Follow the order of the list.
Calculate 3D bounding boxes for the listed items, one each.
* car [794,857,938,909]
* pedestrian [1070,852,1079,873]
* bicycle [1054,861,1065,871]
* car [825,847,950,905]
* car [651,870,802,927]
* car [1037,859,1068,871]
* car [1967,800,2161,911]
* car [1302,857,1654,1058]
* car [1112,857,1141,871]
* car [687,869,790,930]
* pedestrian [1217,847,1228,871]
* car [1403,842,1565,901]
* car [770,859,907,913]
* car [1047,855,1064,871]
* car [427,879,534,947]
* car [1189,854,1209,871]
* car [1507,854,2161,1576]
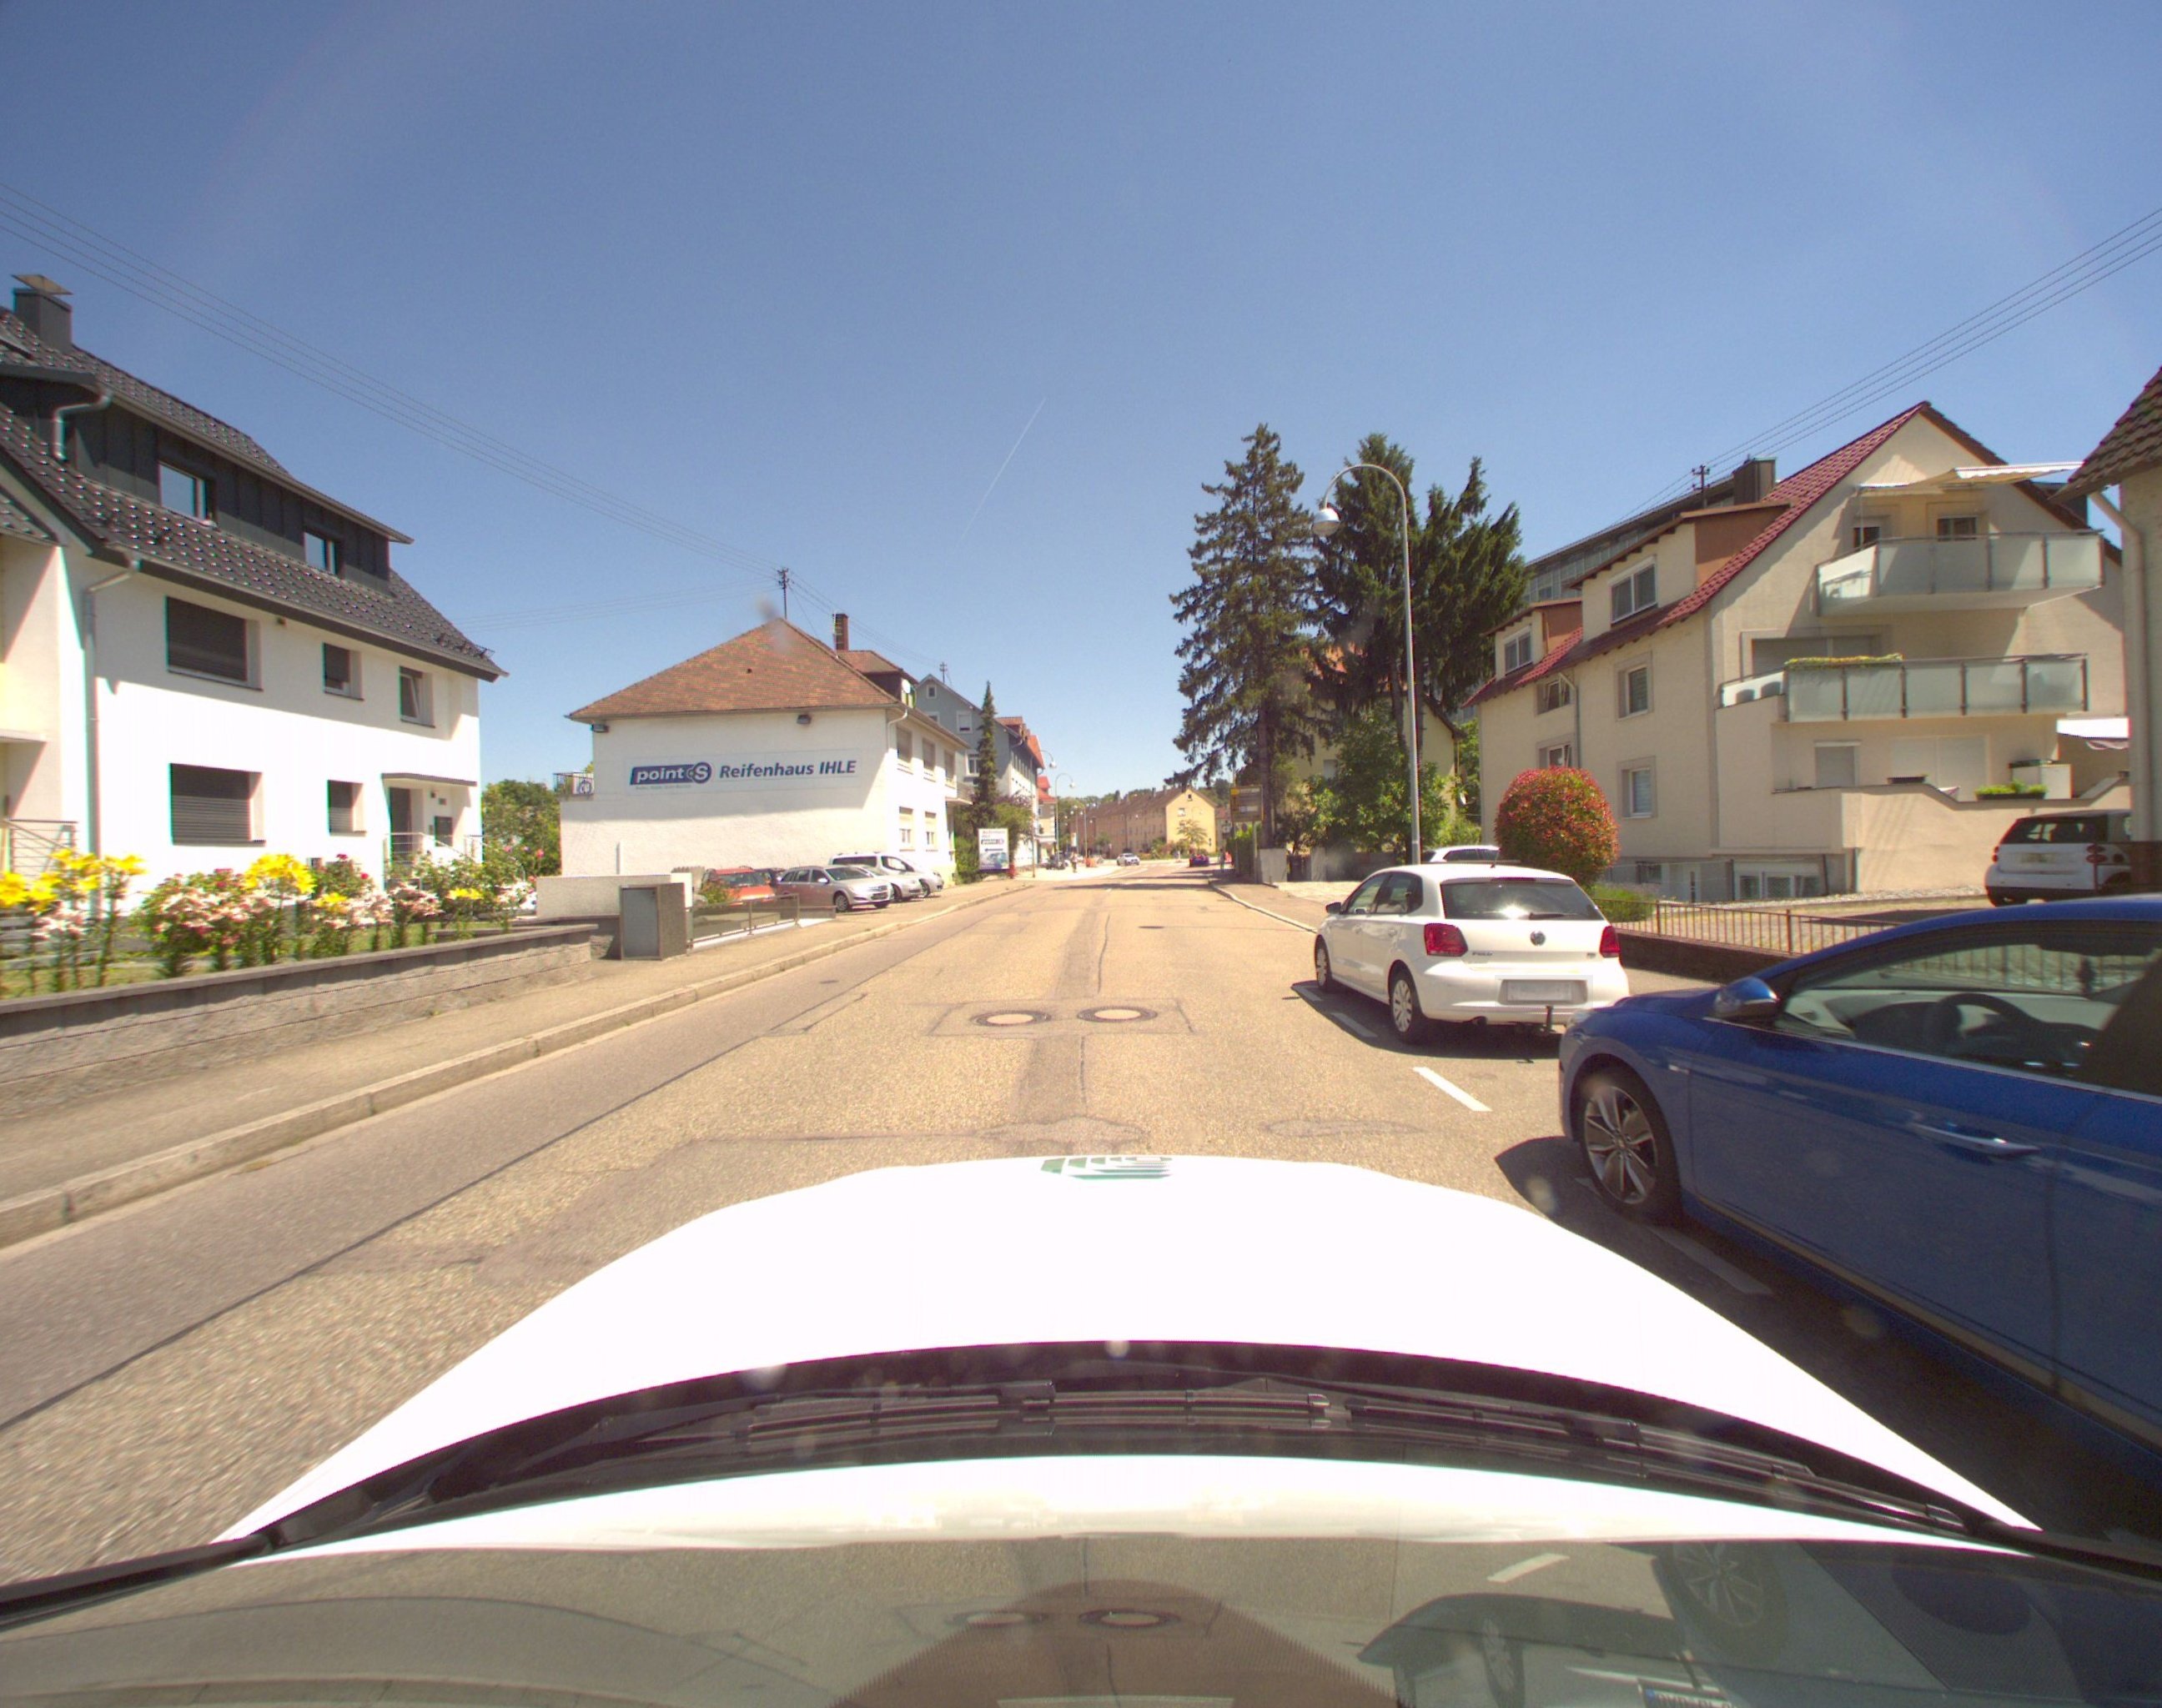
[{"bbox_3d":[-7.621,1.005,29.097,4.450,1.495,1.979,-4,0,5],"label":"car"},{"bbox_3d":[-0.587,0.767,72.715,0.753,1.848,0.772,1,-1,2],"label":"pedestrian"},{"bbox_3d":[-2.035,1.159,77.642,0.492,0.977,1.980,2,0,14],"label":"bicycle"},{"bbox_3d":[-7.420,0.823,31.542,4.342,1.877,1.848,-4,0,-4],"label":"car"},{"bbox_3d":[-12.779,1.587,29.535,4.450,1.495,1.979,-6,0,5],"label":"car"},{"bbox_3d":[-3.814,1.454,110.102,4.105,1.551,1.786,0,-1,-3],"label":"car"},{"bbox_3d":[16.467,-0.032,12.892,3.138,1.552,1.569,-4,0,-1],"label":"car"},{"bbox_3d":[3.429,0.771,7.872,1.678,1.455,3.741,0,0,2],"label":"car"},{"bbox_3d":[5.681,1.282,102.866,1.831,1.530,3.913,-1,-2,-29],"label":"car"},{"bbox_3d":[-10.847,1.391,25.630,1.862,1.644,4.158,-3,0,-39],"label":"car"},{"bbox_3d":[9.734,0.339,56.035,0.620,1.644,0.773,-3,-1,6],"label":"pedestrian"},{"bbox_3d":[10.885,0.499,22.226,3.598,1.530,1.781,0,-2,8],"label":"car"},{"bbox_3d":[-7.786,1.039,26.015,4.219,1.495,1.889,-4,0,35],"label":"car"},{"bbox_3d":[-2.507,0.893,81.611,1.572,1.534,3.774,-1,-2,0],"label":"car"},{"bbox_3d":[-18.947,1.787,25.895,1.829,1.756,4.150,-5,1,-25],"label":"car"},{"bbox_3d":[11.695,0.840,80.592,1.860,1.530,4.516,-2,-2,8],"label":"car"},{"bbox_3d":[3.031,0.728,2.112,1.678,1.454,4.364,0,0,2],"label":"car"}]
